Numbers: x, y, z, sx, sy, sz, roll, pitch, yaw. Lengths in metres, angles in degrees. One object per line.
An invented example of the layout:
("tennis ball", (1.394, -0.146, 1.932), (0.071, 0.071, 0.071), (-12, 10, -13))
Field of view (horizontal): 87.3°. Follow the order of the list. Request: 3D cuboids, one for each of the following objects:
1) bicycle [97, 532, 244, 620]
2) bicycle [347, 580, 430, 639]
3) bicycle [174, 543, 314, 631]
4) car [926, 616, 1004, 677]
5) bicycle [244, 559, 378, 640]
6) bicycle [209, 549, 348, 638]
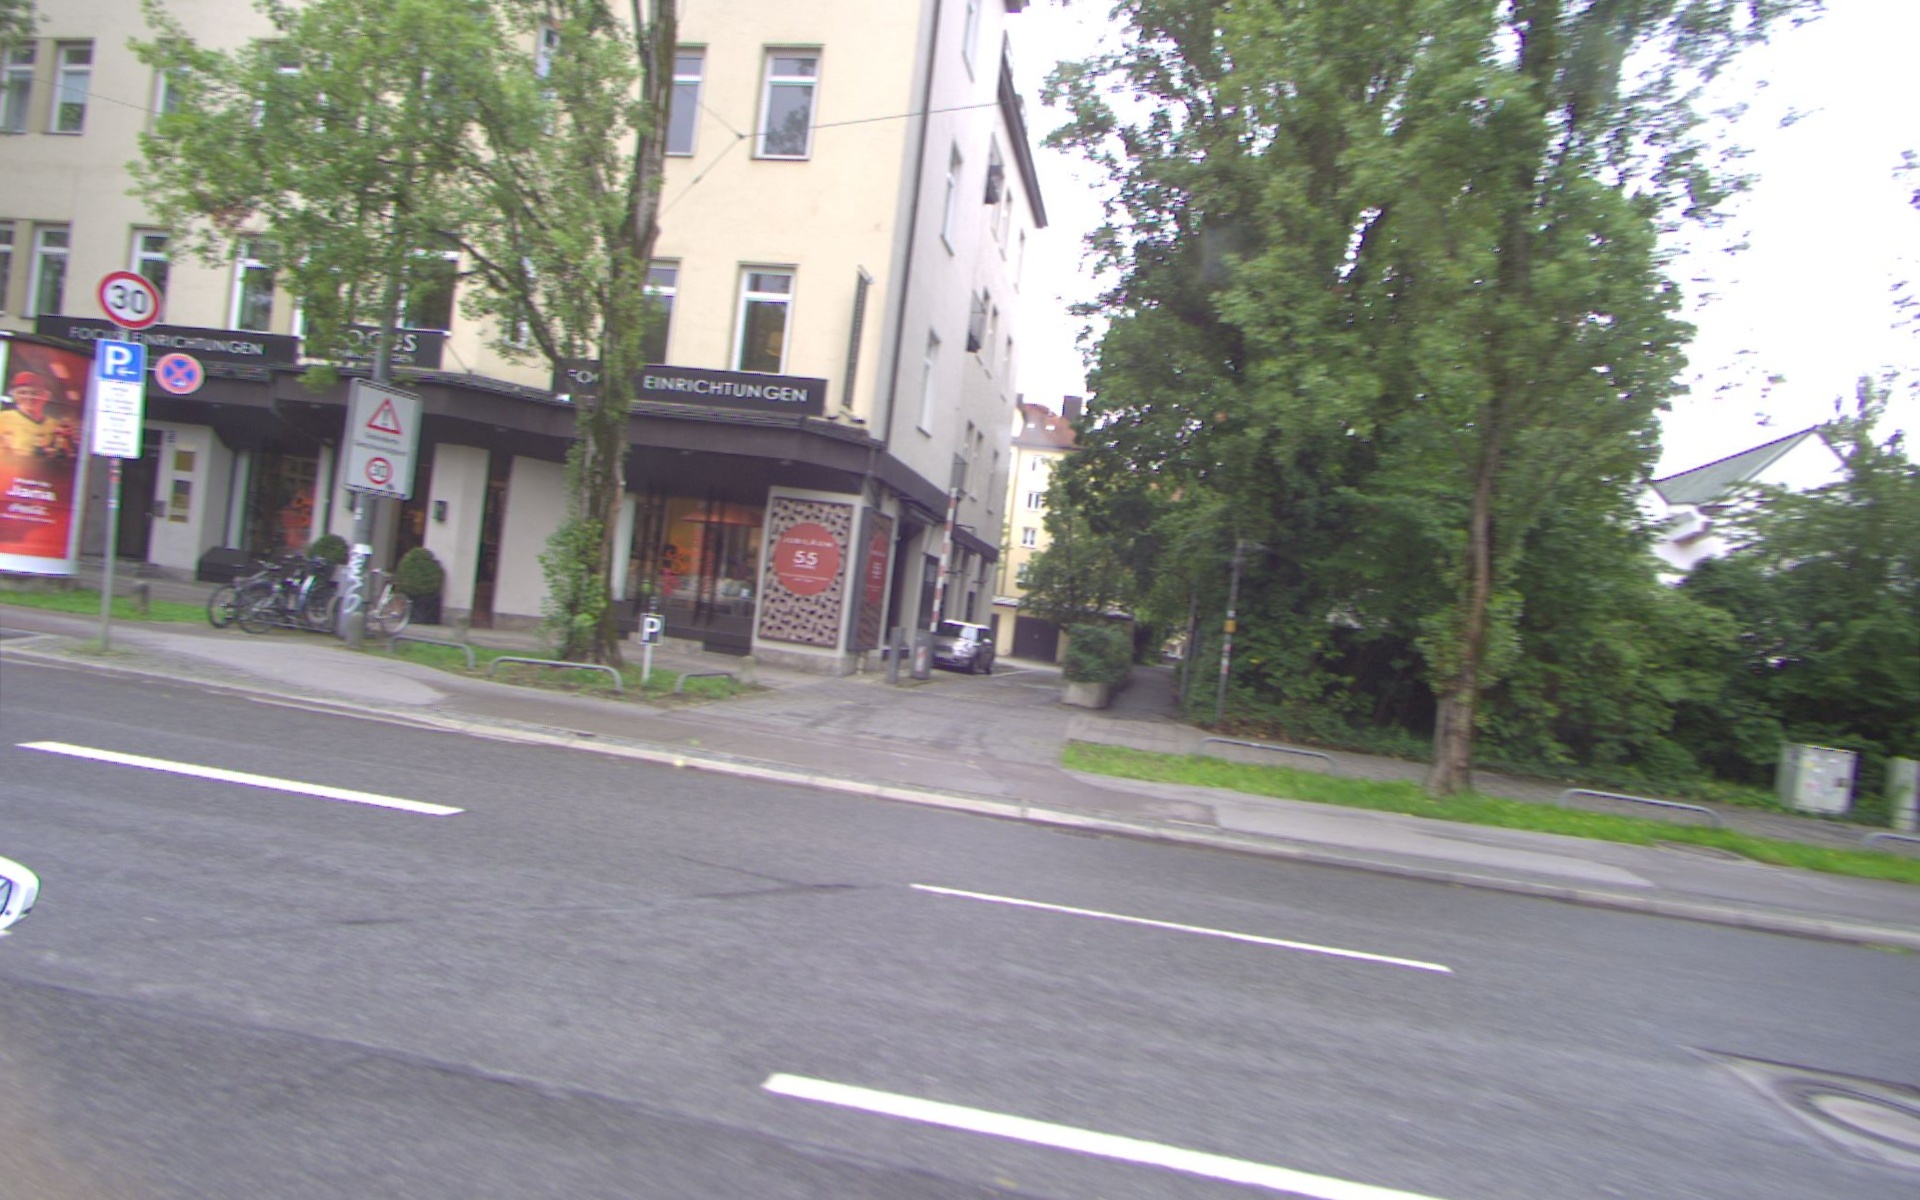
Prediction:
("bicycle", (-12.110, -0.337, 15.510), (0.487, 1.199, 1.890), (7, -1, 7))
("bicycle", (-9.493, 0.174, 16.766), (0.381, 0.894, 1.372), (7, -1, 7))
("bicycle", (-10.809, -0.164, 15.270), (0.487, 1.199, 1.890), (7, -1, 7))
("car", (0.218, 1.318, 29.482), (1.698, 1.459, 4.003), (7, -1, 7))
("bicycle", (-9.639, 0.023, 15.036), (0.487, 1.095, 1.890), (7, -1, 7))
("bicycle", (-10.150, -0.064, 15.074), (0.487, 1.199, 1.890), (7, -1, 7))
